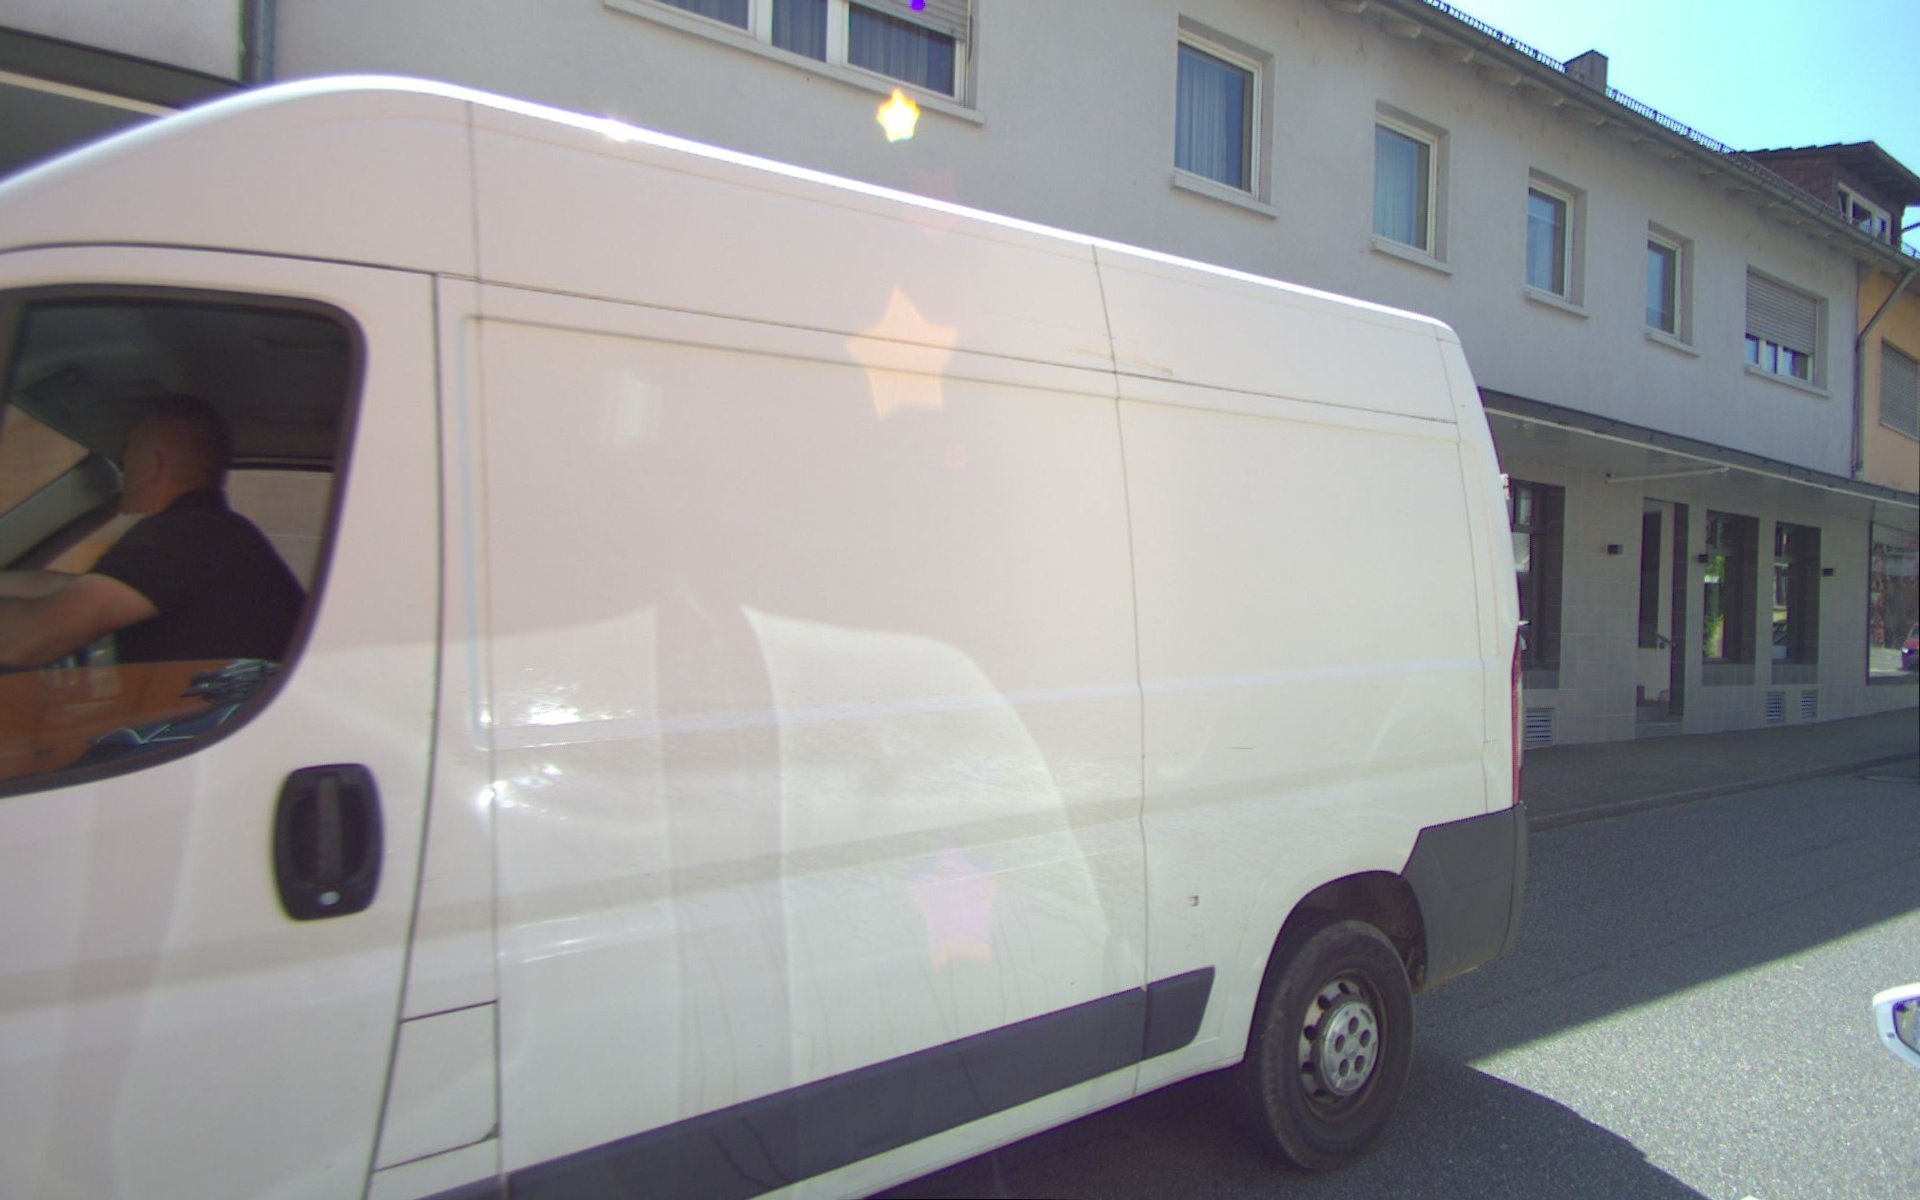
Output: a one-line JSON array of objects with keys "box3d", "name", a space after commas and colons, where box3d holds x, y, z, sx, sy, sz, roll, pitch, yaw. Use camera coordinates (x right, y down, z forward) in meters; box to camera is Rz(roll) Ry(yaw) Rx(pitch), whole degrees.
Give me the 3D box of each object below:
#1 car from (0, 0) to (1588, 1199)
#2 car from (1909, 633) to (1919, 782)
[{"box3d": [-0.792, 0.231, 2.739, 5.333, 2.603, 2.129, 1, -2, -32], "name": "car"}, {"box3d": [11.332, 1.080, 10.238, 3.408, 1.474, 1.588, 1, -2, -32], "name": "car"}]
